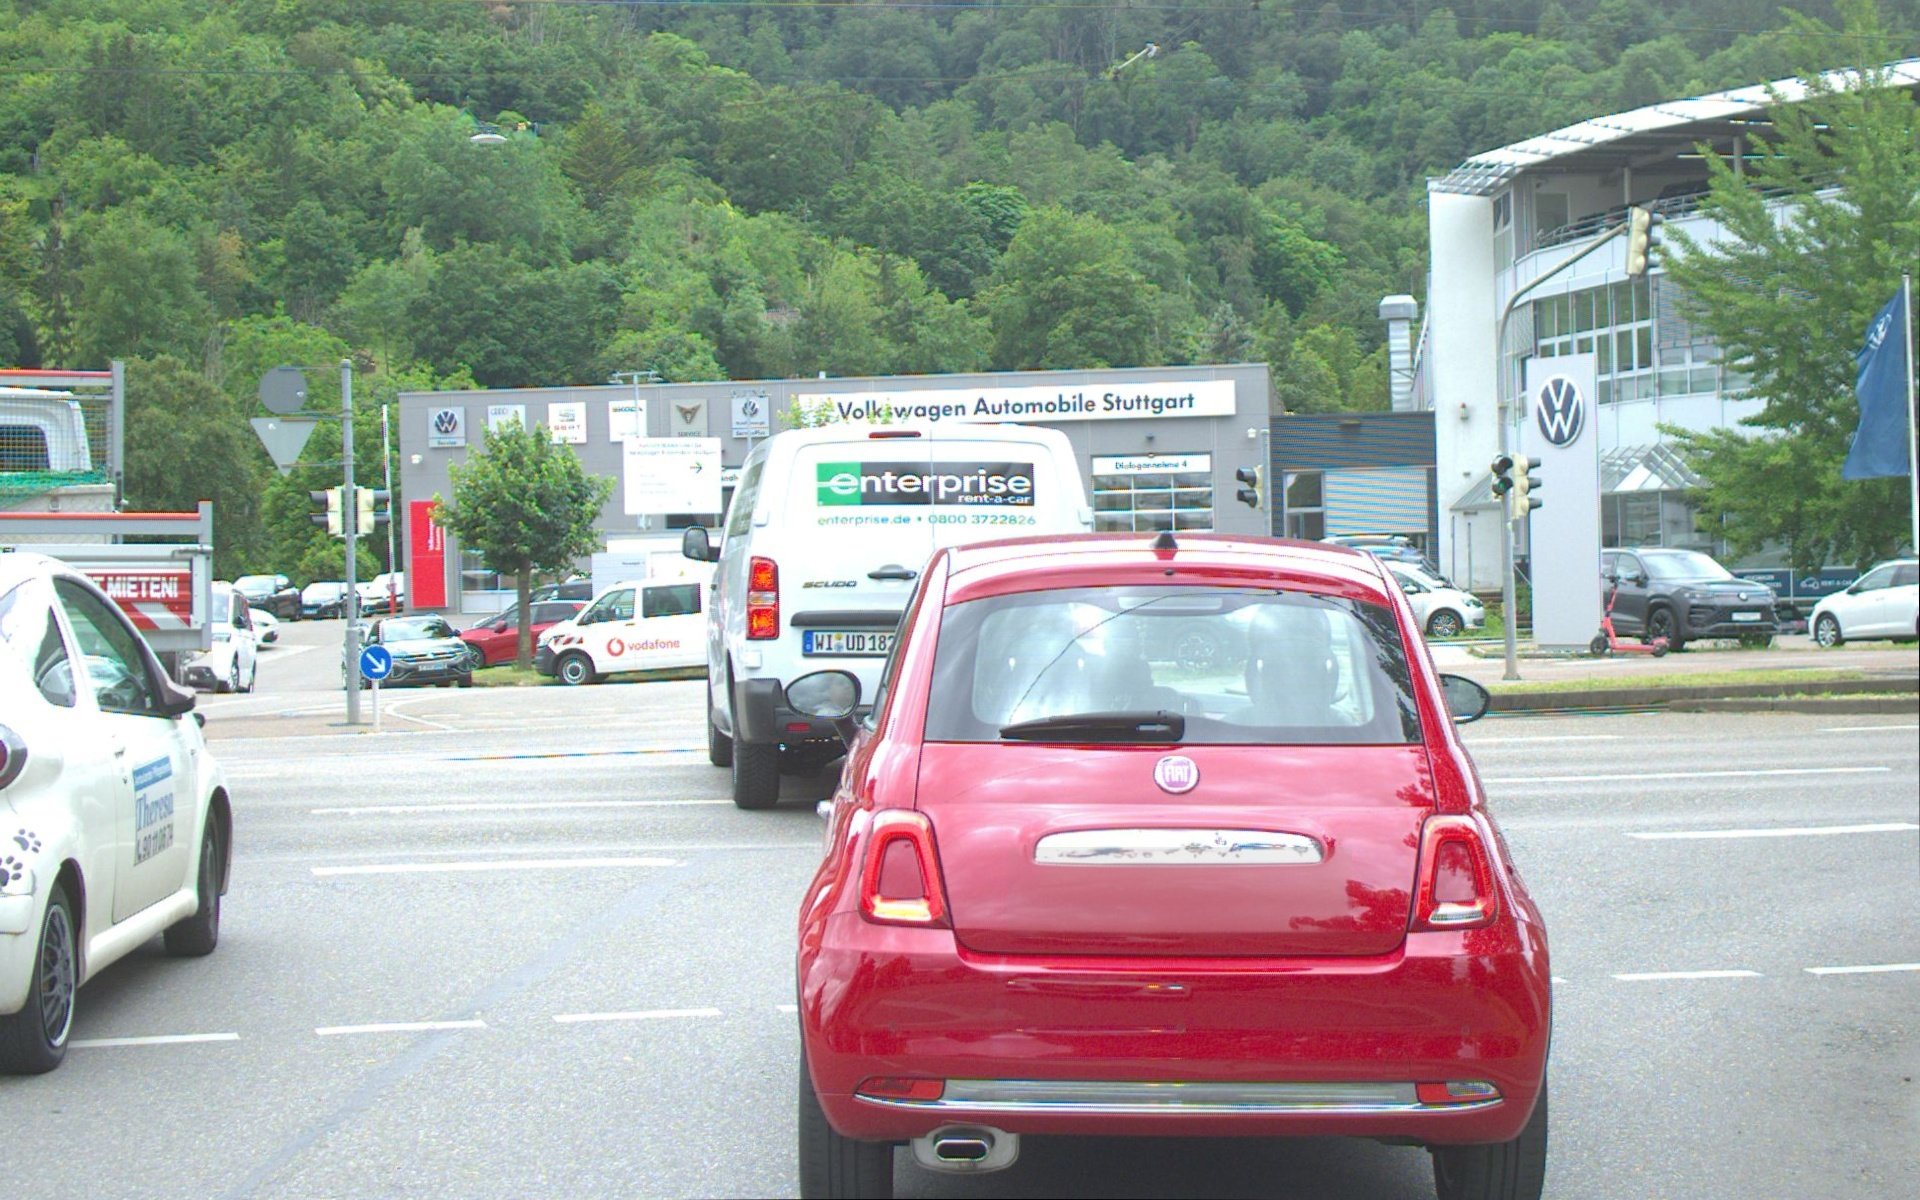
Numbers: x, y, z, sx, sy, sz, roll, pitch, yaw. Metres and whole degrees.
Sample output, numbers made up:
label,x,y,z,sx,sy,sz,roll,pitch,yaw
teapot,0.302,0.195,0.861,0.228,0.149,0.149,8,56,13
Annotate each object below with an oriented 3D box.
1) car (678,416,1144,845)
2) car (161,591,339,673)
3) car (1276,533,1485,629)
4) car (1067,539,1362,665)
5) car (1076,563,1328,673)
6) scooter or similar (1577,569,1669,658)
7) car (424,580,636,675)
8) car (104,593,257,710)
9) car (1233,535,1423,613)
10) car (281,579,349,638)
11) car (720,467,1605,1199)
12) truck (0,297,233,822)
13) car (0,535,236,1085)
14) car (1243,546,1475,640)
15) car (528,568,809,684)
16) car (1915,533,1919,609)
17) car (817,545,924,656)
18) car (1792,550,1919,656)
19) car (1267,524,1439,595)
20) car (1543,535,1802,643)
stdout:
label,x,y,z,sx,sy,sz,roll,pitch,yaw
car,-0.430,0.082,19.170,1.998,2.033,4.833,2,2,-7
car,-18.833,0.856,91.313,4.494,1.990,2.000,2,-1,-10
car,9.541,-0.420,78.316,4.496,1.990,2.000,2,-1,2
car,3.781,0.005,50.801,3.990,1.634,1.999,2,3,16
car,4.147,0.323,59.395,3.986,1.700,2.000,2,-1,-6
scooter or similar,9.878,0.204,51.250,1.200,1.284,0.575,2,-1,-2
car,-9.868,0.642,79.102,4.496,1.990,2.000,2,-1,2
car,-13.303,0.877,58.934,2.075,1.847,4.909,2,-1,-8
car,9.117,-0.633,85.505,4.496,1.723,2.000,2,-1,2
car,-22.999,0.318,122.665,1.993,1.990,4.511,2,-1,-6
car,0.518,0.525,8.836,1.698,1.520,3.999,2,0,4
truck,-5.602,-0.104,18.338,2.313,2.413,5.655,0,-2,-23
car,-3.309,0.540,10.589,1.593,1.415,3.374,-2,1,-4
car,8.133,-0.131,70.365,4.496,1.723,2.000,2,-1,2
car,-5.555,0.527,65.787,5.003,2.007,1.999,-2,-2,7
car,21.493,-0.541,69.297,1.921,1.549,4.000,3,-1,-33
car,-1.768,0.045,68.826,1.993,2.007,5.017,-2,-2,-1
car,15.540,0.074,55.481,1.993,1.634,4.001,3,-1,-25
car,10.821,-1.115,94.957,4.496,1.723,2.000,2,-1,2
car,11.153,-0.166,54.079,1.993,1.634,4.001,0,0,-25
